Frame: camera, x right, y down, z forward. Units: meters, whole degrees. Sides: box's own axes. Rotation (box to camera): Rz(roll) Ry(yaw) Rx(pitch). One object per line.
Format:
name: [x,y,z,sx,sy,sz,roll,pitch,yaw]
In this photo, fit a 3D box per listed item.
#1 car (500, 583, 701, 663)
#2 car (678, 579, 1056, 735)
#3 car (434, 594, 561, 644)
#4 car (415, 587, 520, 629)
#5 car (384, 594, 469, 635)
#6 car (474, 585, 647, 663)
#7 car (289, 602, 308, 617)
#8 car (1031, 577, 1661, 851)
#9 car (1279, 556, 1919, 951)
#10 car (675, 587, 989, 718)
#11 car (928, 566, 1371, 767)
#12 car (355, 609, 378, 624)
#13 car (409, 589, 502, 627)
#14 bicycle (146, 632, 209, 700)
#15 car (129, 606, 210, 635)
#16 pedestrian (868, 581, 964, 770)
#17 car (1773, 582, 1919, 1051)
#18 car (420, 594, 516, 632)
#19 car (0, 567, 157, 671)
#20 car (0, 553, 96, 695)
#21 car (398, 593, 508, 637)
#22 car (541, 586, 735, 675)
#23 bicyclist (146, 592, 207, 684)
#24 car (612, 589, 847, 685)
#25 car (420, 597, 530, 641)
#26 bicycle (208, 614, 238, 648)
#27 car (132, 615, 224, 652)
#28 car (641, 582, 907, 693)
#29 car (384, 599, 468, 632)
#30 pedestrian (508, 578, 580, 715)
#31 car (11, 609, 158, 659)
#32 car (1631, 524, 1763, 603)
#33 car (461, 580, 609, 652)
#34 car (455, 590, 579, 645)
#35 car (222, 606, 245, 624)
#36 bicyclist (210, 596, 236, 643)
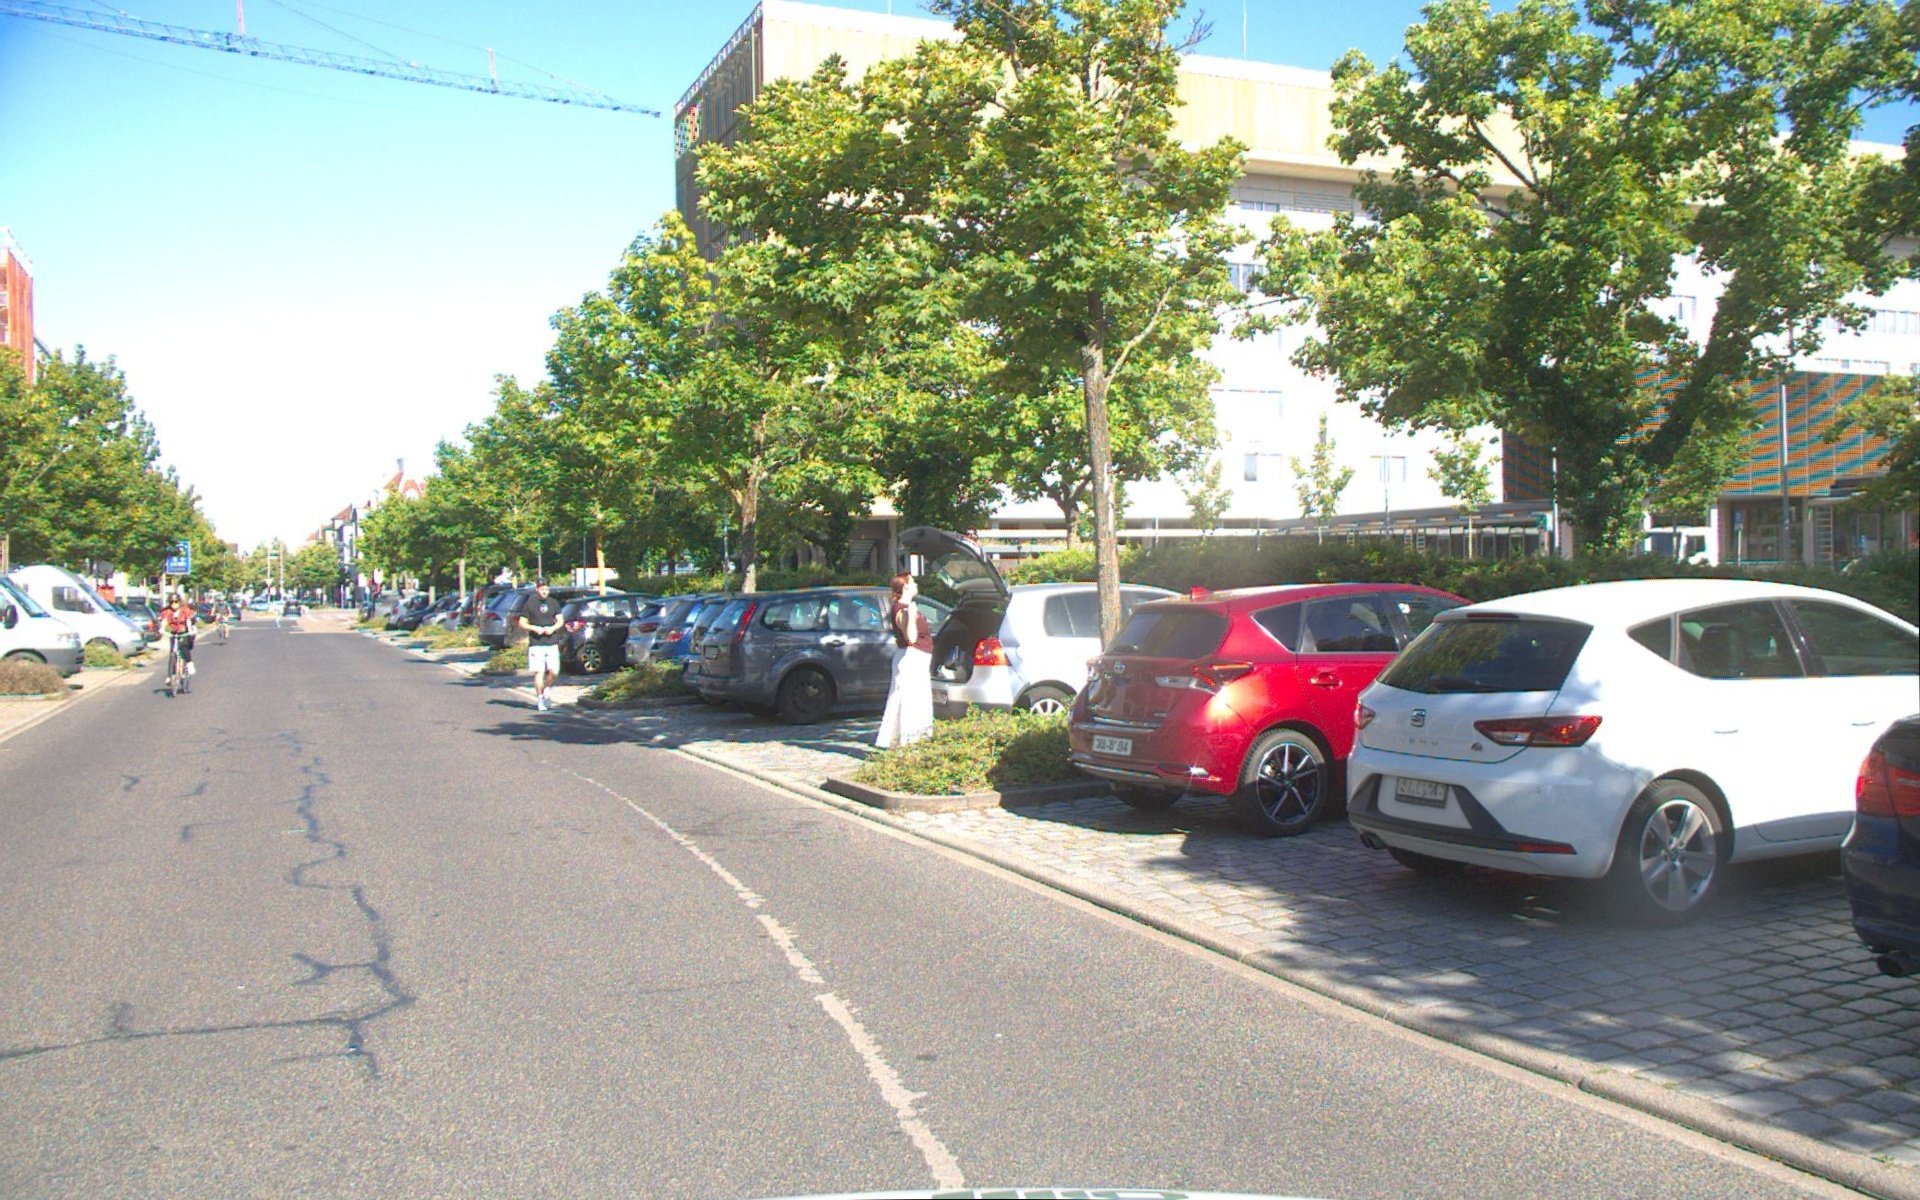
car: [-8.460,0.512,38.902,4.269,1.636,1.896,-3,1,-27]
car: [-1.094,0.606,19.692,4.133,1.546,1.723,-3,1,-25]
car: [-15.871,0.643,56.794,4.005,1.450,1.730,-3,1,-22]
car: [-19.589,0.316,65.819,3.814,1.530,1.639,-2,1,-25]
car: [-27.077,0.727,83.954,3.932,1.912,1.671,-2,0,-23]
car: [-9.904,0.556,40.971,3.850,1.725,1.925,-2,2,-25]
car: [-69.847,0.995,174.589,1.786,1.500,4.084,-2,2,-22]
car: [2.569,0.649,10.959,3.850,1.451,1.659,-2,0,-25]
car: [3.741,0.589,8.359,3.850,1.461,1.794,-3,2,-25]
car: [-1.691,0.638,22.013,3.850,1.493,1.609,-2,2,-25]
car: [1.789,0.529,15.538,3.850,1.605,1.667,-2,2,-25]
car: [-64.839,1.776,180.732,1.964,1.500,4.079,-2,2,-24]
car: [-23.434,0.354,76.770,3.932,1.609,2.018,-2,0,-23]
bicycle: [-12.988,1.077,27.482,0.746,1.019,1.860,-3,1,-21]
car: [-47.192,1.223,98.798,4.279,1.500,1.802,-2,2,-26]
pedestrian: [-0.378,0.649,14.580,0.748,1.606,0.674,-1,1,6]
car: [4.987,0.581,5.619,4.102,1.430,1.815,-3,1,-25]
car: [-22.148,0.598,74.457,3.932,1.565,1.849,-2,0,-23]
car: [-22.579,0.440,40.018,5.472,2.452,1.975,0,0,-21]
car: [-18.307,0.405,29.182,5.175,2.461,2.109,1,0,-22]
car: [-20.787,0.596,67.811,4.091,1.607,1.728,-3,1,-24]
car: [-6.359,0.588,32.636,3.409,1.515,1.733,-3,0,-25]
bicyclist: [-13.022,0.616,27.512,0.746,1.456,1.125,-3,1,-21]
car: [-3.980,0.602,28.525,3.680,1.441,1.830,-2,1,-22]
car: [-18.528,0.712,63.172,3.849,1.512,1.730,-2,1,-24]
bicycle: [-26.217,1.080,58.878,0.687,1.130,2.069,-3,1,-18]
car: [-40.233,1.703,85.177,4.206,1.694,1.587,-2,1,-24]
car: [-2.960,0.552,26.192,3.840,1.523,1.830,-2,1,-22]
car: [-26.072,0.741,80.767,3.716,1.485,1.805,-2,0,-23]
pedestrian: [-5.772,0.629,22.926,0.709,1.802,1.160,-3,1,-24]
car: [-28.158,1.063,53.322,4.079,1.518,1.854,0,1,-26]
car: [25.303,-1.254,56.813,3.582,2.534,2.219,-2,1,-21]
car: [-12.898,0.454,50.198,4.066,1.961,1.963,-2,2,-25]
car: [-14.077,0.530,52.527,3.560,1.576,1.694,-2,2,-25]
car: [-64.963,1.332,147.914,1.788,1.500,4.081,-2,2,-23]
bicyclist: [-26.255,0.683,58.922,0.673,1.608,1.055,-3,1,-18]
